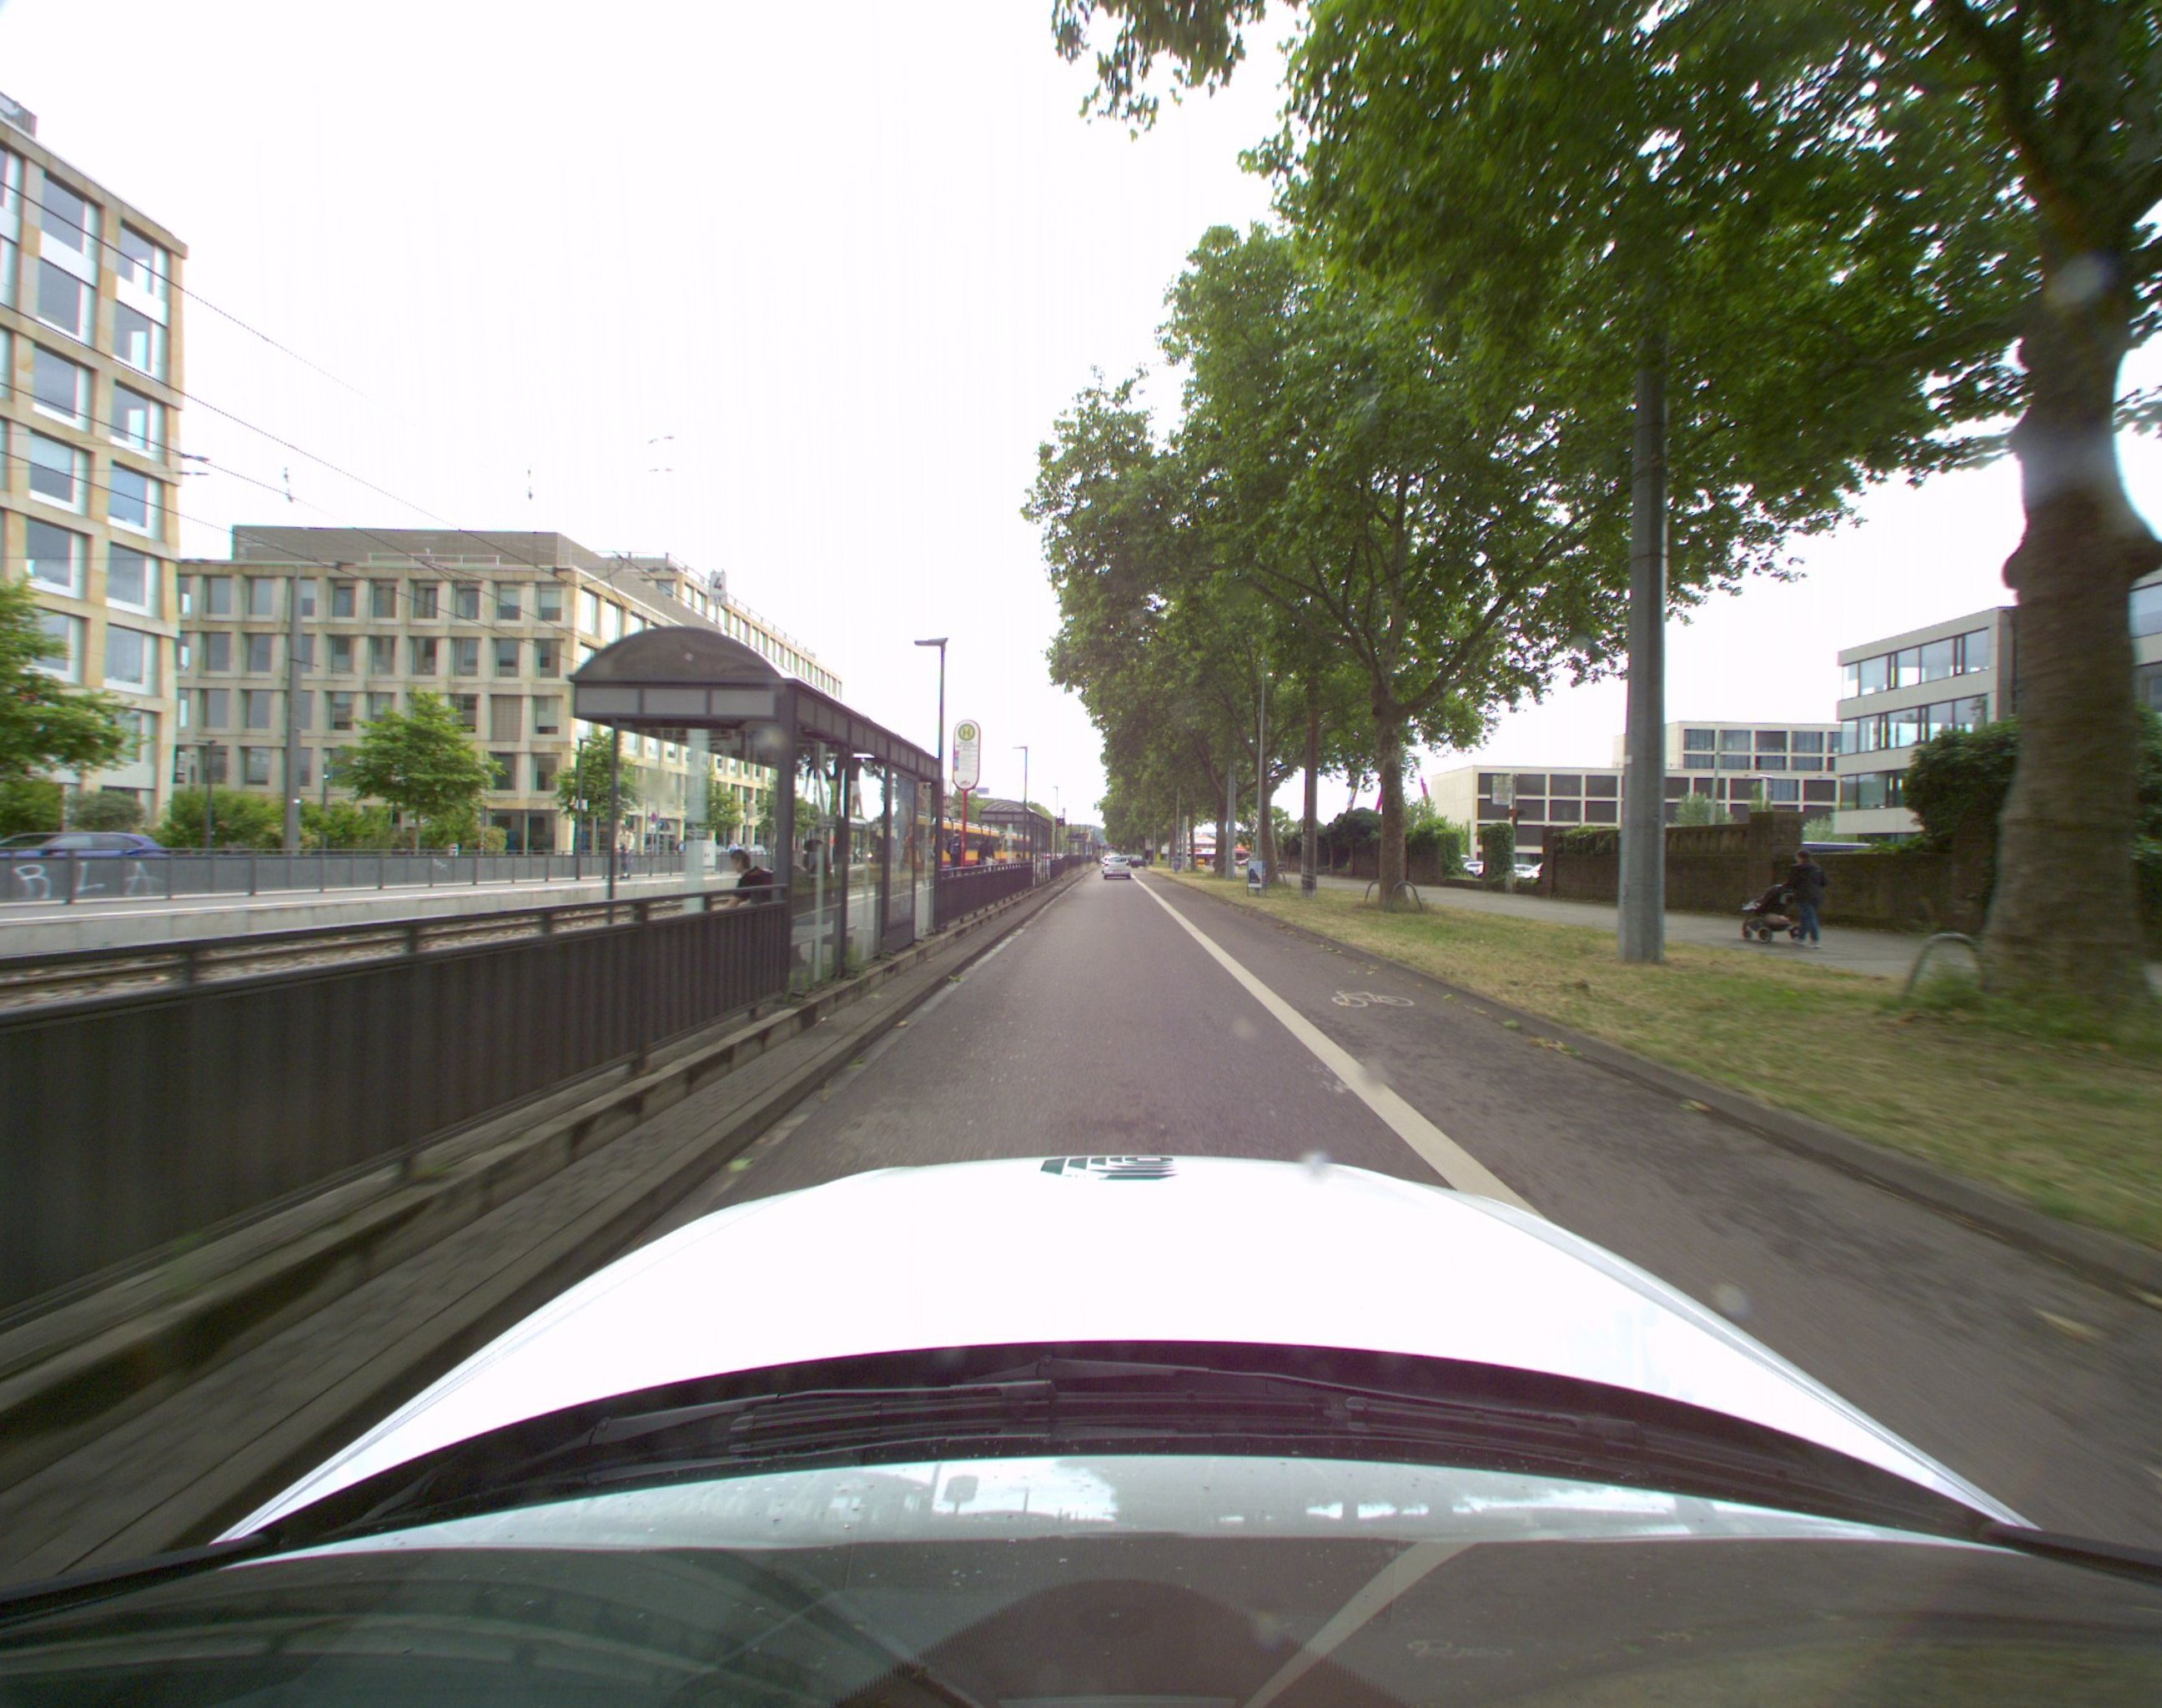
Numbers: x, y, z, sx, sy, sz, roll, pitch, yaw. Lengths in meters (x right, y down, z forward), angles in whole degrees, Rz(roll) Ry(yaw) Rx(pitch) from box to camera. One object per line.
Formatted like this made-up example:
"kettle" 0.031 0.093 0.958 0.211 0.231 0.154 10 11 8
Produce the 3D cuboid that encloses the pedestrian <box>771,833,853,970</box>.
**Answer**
"pedestrian" -2.791 0.482 8.506 0.608 1.372 0.600 1 -1 2

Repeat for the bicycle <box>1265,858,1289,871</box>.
"bicycle" 16.544 0.890 68.717 1.883 1.105 0.550 -1 -1 0

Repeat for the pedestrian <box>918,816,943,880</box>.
"pedestrian" -4.363 -0.157 23.633 0.670 1.793 1.109 1 -1 -11

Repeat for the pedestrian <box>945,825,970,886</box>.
"pedestrian" -3.722 0.063 24.582 0.669 1.793 1.110 1 -1 -7

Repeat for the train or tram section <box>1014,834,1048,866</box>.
"train or tram section" -6.833 -0.479 114.135 3.167 4.179 14.742 1 -1 3

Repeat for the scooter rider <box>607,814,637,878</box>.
"scooter rider" -14.809 -0.250 26.284 0.514 2.009 0.682 1 -1 1

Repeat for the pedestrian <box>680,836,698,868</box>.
"pedestrian" -25.118 -0.143 52.180 0.710 2.014 0.725 1 -1 1

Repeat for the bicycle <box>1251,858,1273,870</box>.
"bicycle" 16.432 0.933 73.875 1.915 1.091 0.550 -1 -1 0

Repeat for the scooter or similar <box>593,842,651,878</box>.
"scooter or similar" -14.808 0.200 26.350 0.521 1.114 2.227 1 -1 2

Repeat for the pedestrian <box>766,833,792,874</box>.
"pedestrian" -13.809 -0.018 37.266 0.709 1.795 1.160 1 -1 1

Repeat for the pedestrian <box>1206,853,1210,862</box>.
"pedestrian" 21.362 0.566 136.917 0.491 1.463 0.523 1 -1 -1

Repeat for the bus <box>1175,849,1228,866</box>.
"bus" 21.546 0.595 146.186 9.248 2.960 1.999 1 -1 -1

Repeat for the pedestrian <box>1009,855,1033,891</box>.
"pedestrian" -2.256 0.713 30.755 0.832 1.303 0.613 1 -1 0

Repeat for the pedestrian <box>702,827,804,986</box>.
"pedestrian" -2.888 0.450 7.222 0.608 1.341 0.600 1 -1 2

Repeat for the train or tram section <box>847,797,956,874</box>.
"train or tram section" -9.932 -0.881 46.874 3.224 3.862 11.317 1 -1 2

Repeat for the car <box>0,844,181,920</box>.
"car" -24.401 0.605 19.083 1.985 1.662 4.004 1 -1 4

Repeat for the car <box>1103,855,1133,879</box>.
"car" 2.457 0.848 53.522 1.877 1.453 4.003 1 -1 3

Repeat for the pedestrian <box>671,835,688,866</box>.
"pedestrian" -26.134 -0.212 53.054 0.710 2.014 0.725 1 -1 1

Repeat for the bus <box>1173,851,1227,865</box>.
"bus" 20.784 0.759 142.625 9.248 2.227 1.999 1 -1 -1

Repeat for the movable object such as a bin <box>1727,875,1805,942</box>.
"movable object such as a bin" 12.077 0.942 14.384 0.608 1.112 1.017 1 0 8

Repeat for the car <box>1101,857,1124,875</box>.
"car" 2.757 1.025 70.439 1.833 1.552 4.004 0 0 3

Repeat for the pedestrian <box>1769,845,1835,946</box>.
"pedestrian" 11.955 0.671 13.519 0.555 1.632 0.671 1 -1 8

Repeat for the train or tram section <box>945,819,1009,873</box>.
"train or tram section" -8.780 -0.555 70.697 3.167 4.179 13.628 1 -1 3

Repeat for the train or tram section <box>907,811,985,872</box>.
"train or tram section" -9.388 -0.747 58.248 3.151 3.862 11.317 1 -1 2

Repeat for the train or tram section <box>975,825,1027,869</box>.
"train or tram section" -8.102 -0.593 84.760 3.167 4.179 14.742 1 -1 3

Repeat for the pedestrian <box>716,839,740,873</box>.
"pedestrian" -21.270 0.098 49.035 0.929 2.014 1.032 1 -1 1

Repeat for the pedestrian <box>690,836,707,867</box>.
"pedestrian" -25.116 -0.129 53.456 0.710 2.014 0.725 1 -1 1

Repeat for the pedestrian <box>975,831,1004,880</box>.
"pedestrian" -3.849 0.059 34.232 1.054 2.014 0.840 1 -1 2
